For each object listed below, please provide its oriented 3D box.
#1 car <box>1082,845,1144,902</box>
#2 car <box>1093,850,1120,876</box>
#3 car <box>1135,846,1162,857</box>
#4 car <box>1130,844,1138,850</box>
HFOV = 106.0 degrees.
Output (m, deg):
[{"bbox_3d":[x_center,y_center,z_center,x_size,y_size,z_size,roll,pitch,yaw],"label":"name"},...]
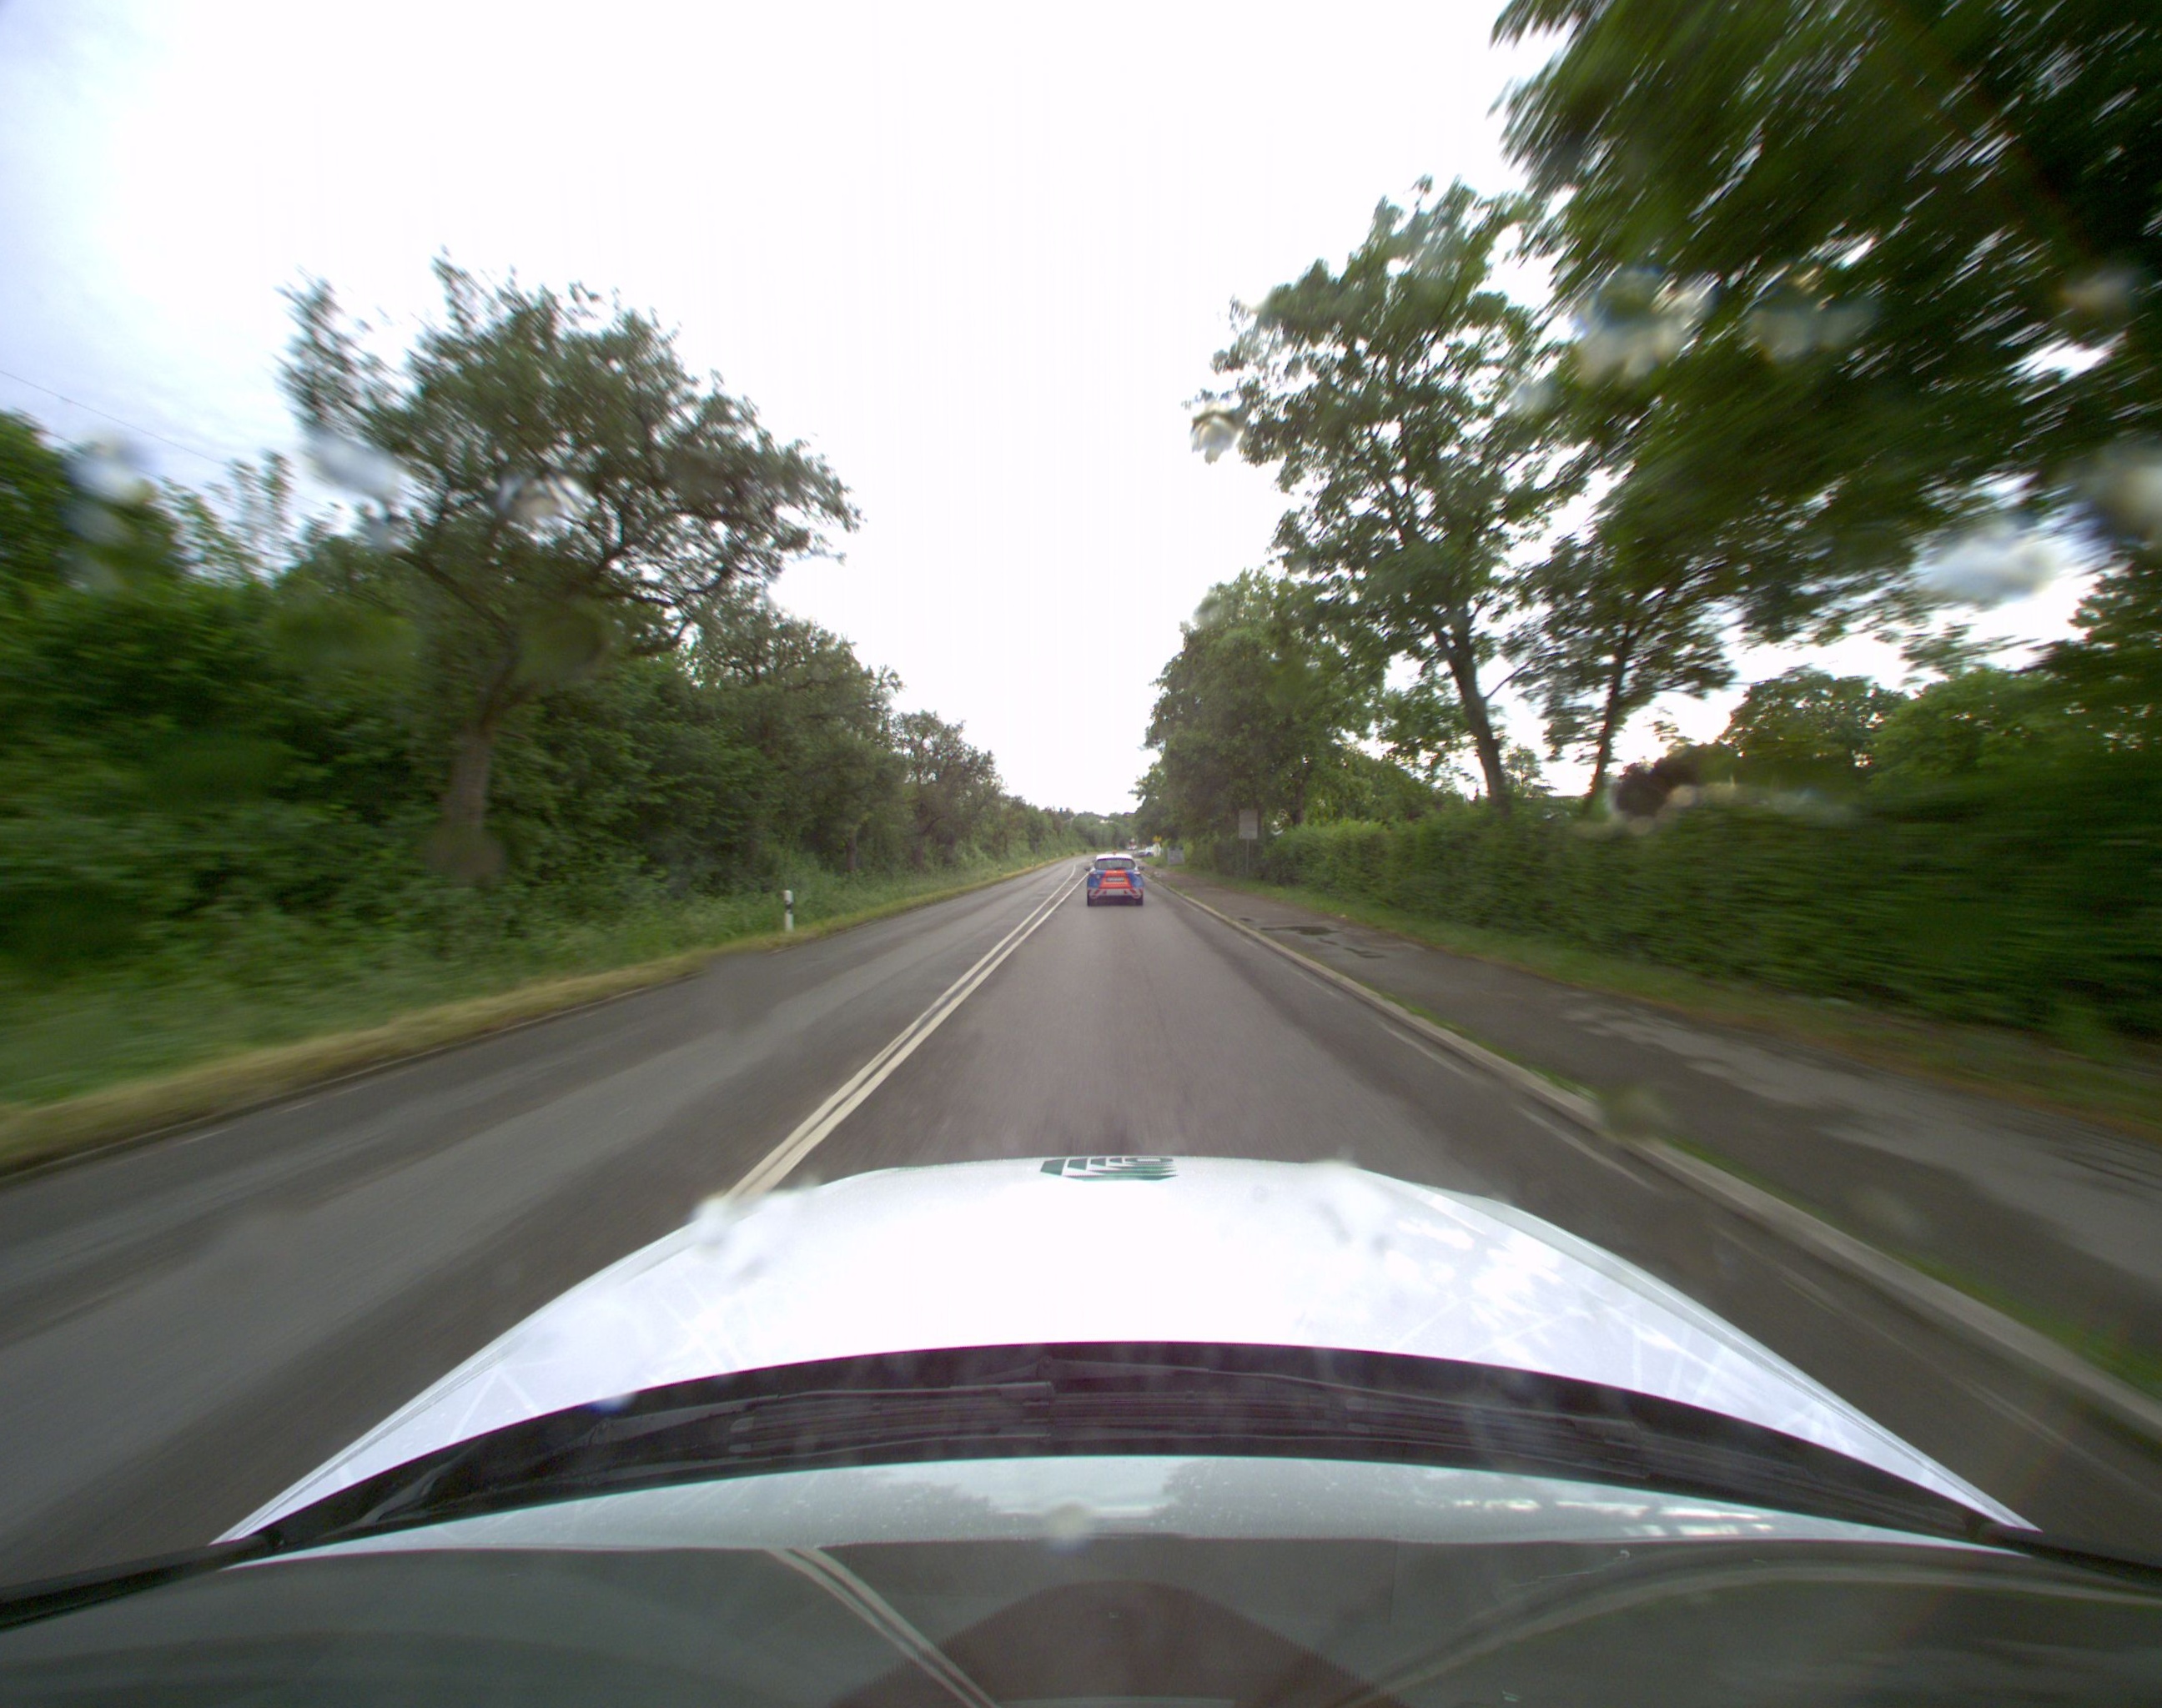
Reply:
[{"bbox_3d":[0.998,0.591,25.874,1.799,1.668,3.857,1,0,1],"label":"car"},{"bbox_3d":[1.678,0.587,54.322,1.688,1.595,3.856,1,0,0],"label":"car"},{"bbox_3d":[11.621,-0.386,139.498,4.644,1.751,2.011,1,-1,-43],"label":"car"},{"bbox_3d":[16.484,-2.103,253.081,1.682,1.790,3.870,1,0,14],"label":"car"}]
